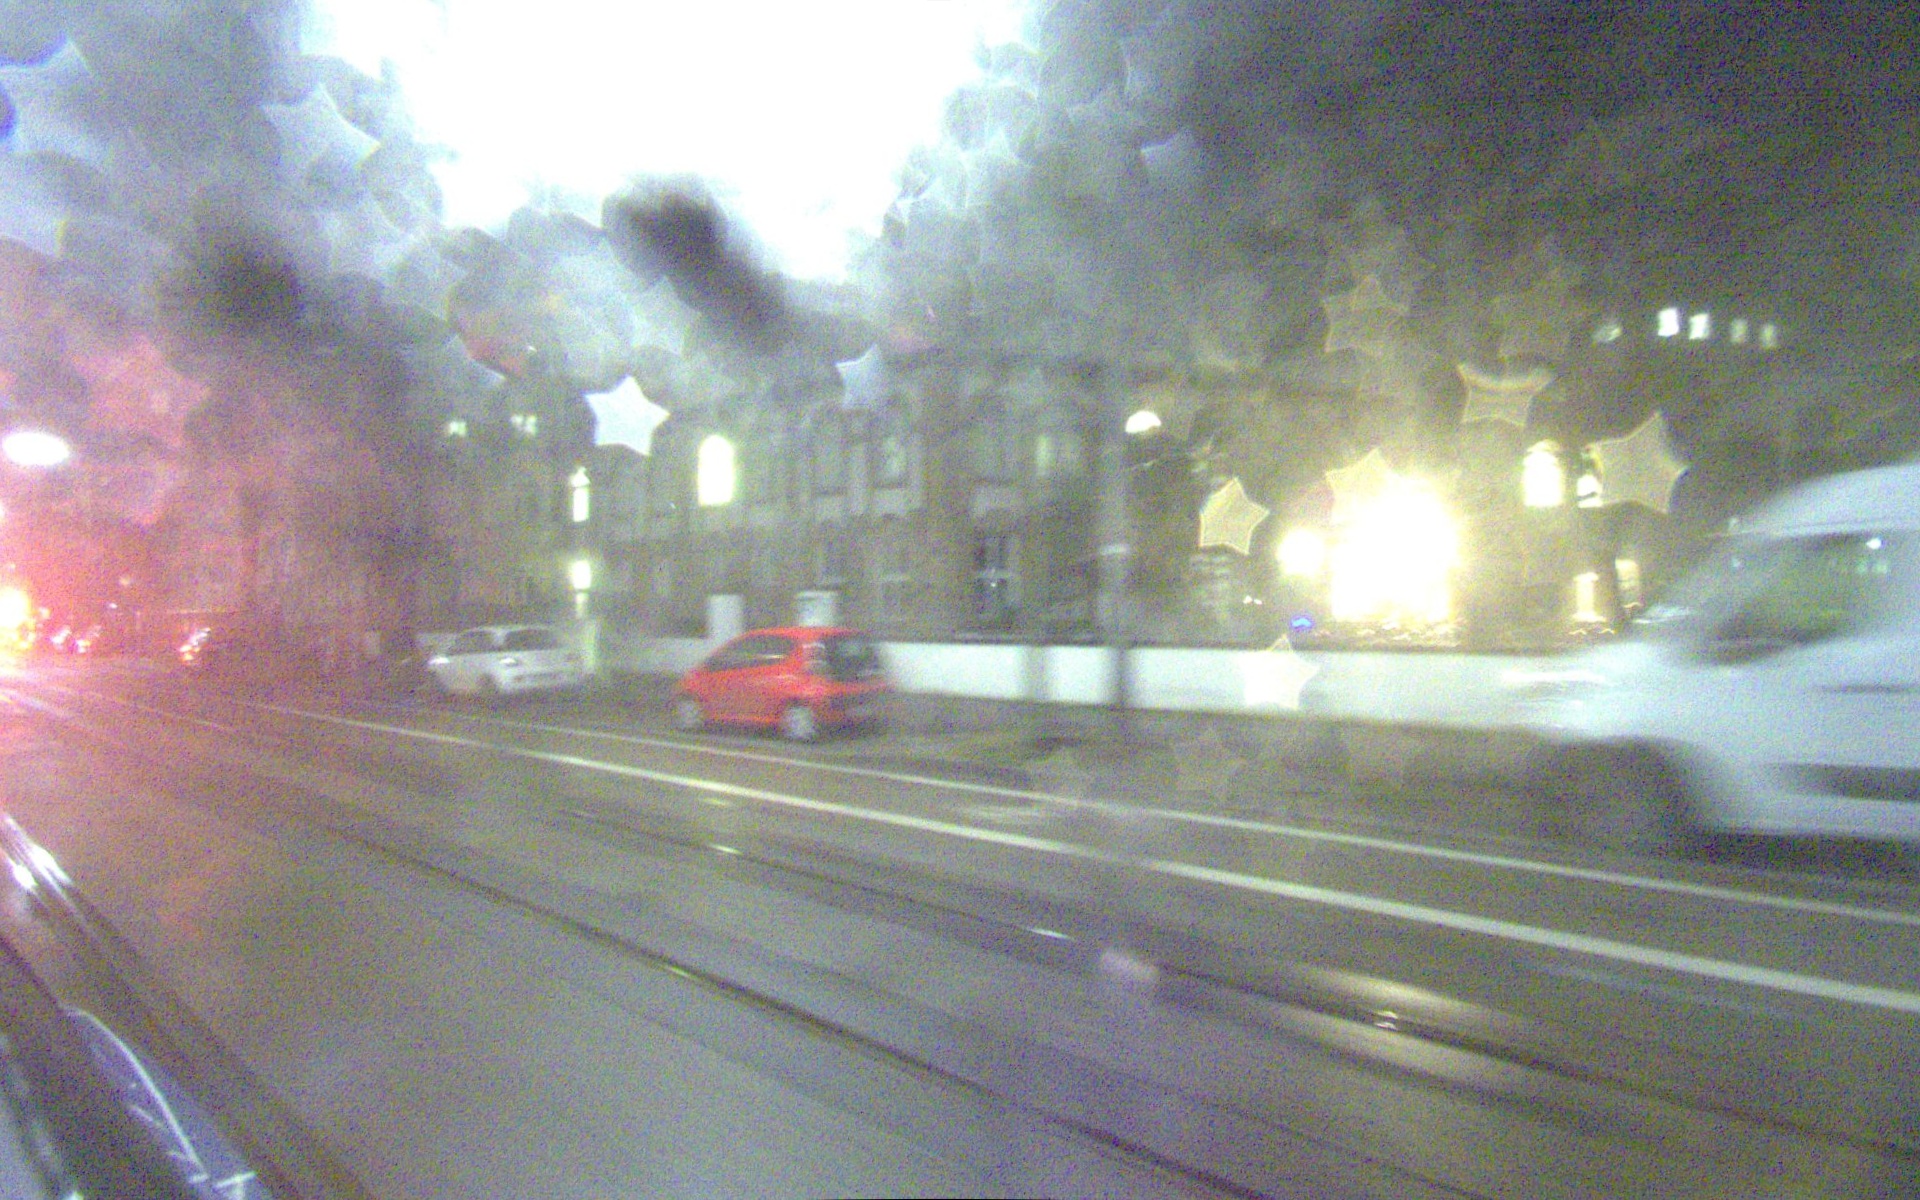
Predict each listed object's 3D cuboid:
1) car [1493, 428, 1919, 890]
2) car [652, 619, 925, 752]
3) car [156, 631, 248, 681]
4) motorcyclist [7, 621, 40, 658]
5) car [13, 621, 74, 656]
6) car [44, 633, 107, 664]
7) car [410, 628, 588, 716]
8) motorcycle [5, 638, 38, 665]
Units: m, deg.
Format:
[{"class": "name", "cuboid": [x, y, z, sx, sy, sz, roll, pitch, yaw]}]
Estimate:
[{"class": "car", "cuboid": [6.417, 0.275, 5.825, 5.601, 2.517, 2.005, -2, 1, 39]}, {"class": "car", "cuboid": [-2.396, 1.103, 13.731, 3.615, 1.518, 1.625, -4, -1, 39]}, {"class": "car", "cuboid": [-24.932, 1.787, 33.241, 4.000, 1.397, 1.650, 0, 2, 42]}, {"class": "motorcyclist", "cuboid": [-46.425, 1.969, 50.185, 0.906, 1.753, 1.139, 6, -4, -34]}, {"class": "car", "cuboid": [-54.031, 2.277, 59.646, 5.305, 1.839, 1.973, -2, 1, 41]}, {"class": "car", "cuboid": [-45.432, 2.473, 51.944, 4.137, 1.417, 1.748, -1, 1, 40]}, {"class": "car", "cuboid": [-8.887, 1.302, 19.403, 3.805, 1.439, 1.593, -1, 1, 40]}, {"class": "motorcycle", "cuboid": [-46.392, 2.544, 50.043, 0.806, 1.240, 2.006, 6, -4, -34]}]
